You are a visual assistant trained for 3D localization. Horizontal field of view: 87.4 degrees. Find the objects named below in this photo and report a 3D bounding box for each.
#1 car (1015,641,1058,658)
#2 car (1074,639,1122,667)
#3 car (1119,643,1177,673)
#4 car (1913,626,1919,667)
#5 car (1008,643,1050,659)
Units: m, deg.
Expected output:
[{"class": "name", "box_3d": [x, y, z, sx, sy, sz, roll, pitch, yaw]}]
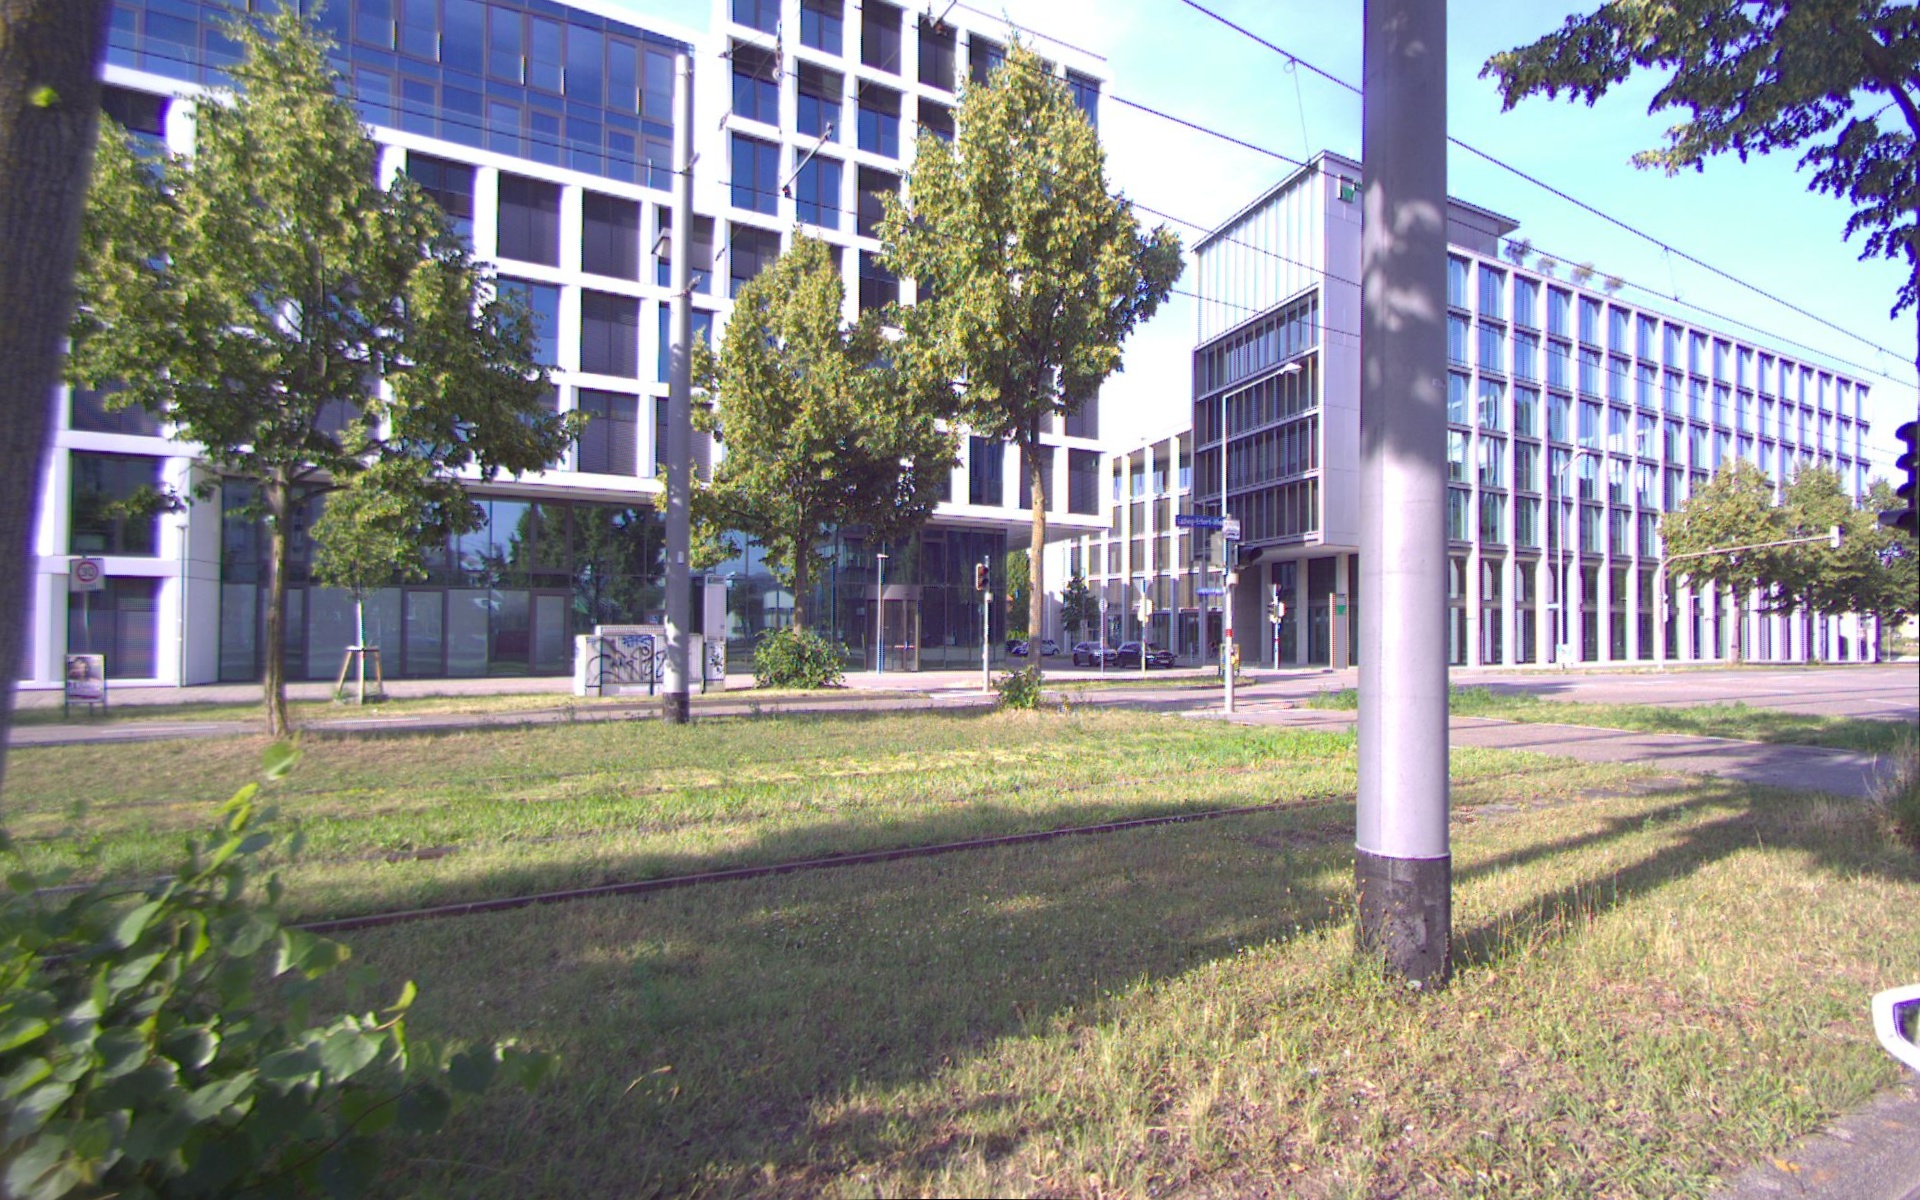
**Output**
[{"class": "car", "box_3d": [6.841, 4.408, 89.604, 3.537, 1.417, 1.524, 2, 0, -15]}, {"class": "car", "box_3d": [8.355, 3.204, 61.094, 1.549, 1.443, 3.667, 2, 0, -15]}, {"class": "car", "box_3d": [10.131, 3.118, 54.331, 1.551, 1.443, 3.497, 2, 0, -20]}, {"class": "car", "box_3d": [44.219, 2.133, 44.819, 3.842, 1.799, 1.674, 2, 0, -34]}, {"class": "car", "box_3d": [6.365, 4.689, 92.595, 3.537, 1.313, 1.524, 2, 0, -15]}]
